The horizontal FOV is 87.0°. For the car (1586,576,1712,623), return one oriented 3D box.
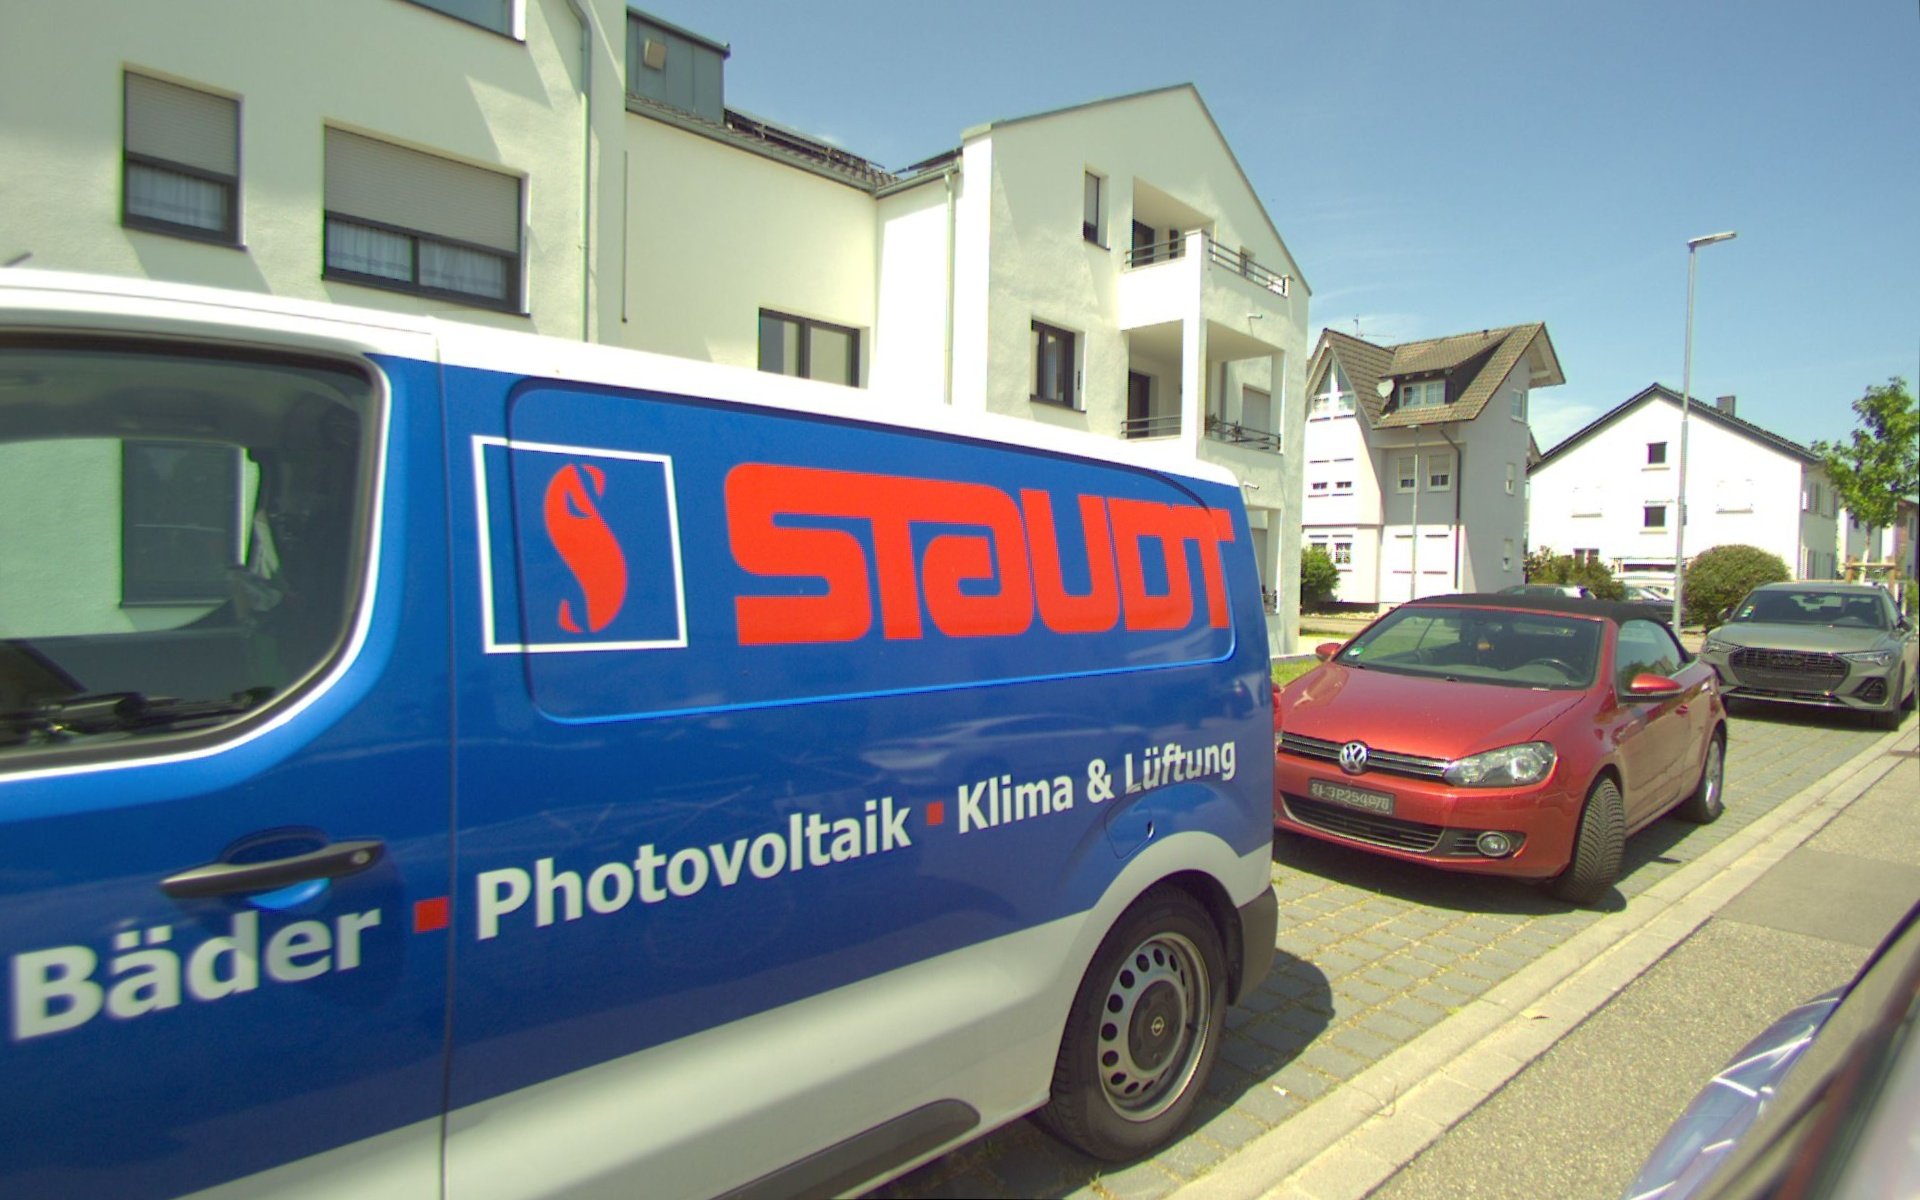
[{"bbox_3d":[24.840,-0.033,36.541,1.637,1.513,3.449,0,2,-43],"label":"car"}]

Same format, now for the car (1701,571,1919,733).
[{"bbox_3d":[10.784,0.509,12.564,4.207,1.614,1.776,0,3,-43],"label":"car"}]

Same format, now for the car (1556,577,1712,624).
[{"bbox_3d":[23.154,-0.012,34.879,1.637,1.391,4.206,0,3,-43],"label":"car"}]

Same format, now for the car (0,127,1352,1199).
[{"bbox_3d":[-1.376,0.394,2.217,4.757,1.905,2.104,0,2,-40],"label":"car"}]

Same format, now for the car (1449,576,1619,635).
[{"bbox_3d":[16.616,0.116,29.394,3.990,1.485,1.729,3,2,42],"label":"car"}]

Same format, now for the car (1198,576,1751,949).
[{"bbox_3d":[3.278,0.638,6.060,3.959,1.459,1.682,0,3,-43],"label":"car"}]

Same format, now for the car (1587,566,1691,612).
[{"bbox_3d":[29.543,-0.503,44.072,1.740,1.834,3.393,0,2,-41],"label":"car"}]
